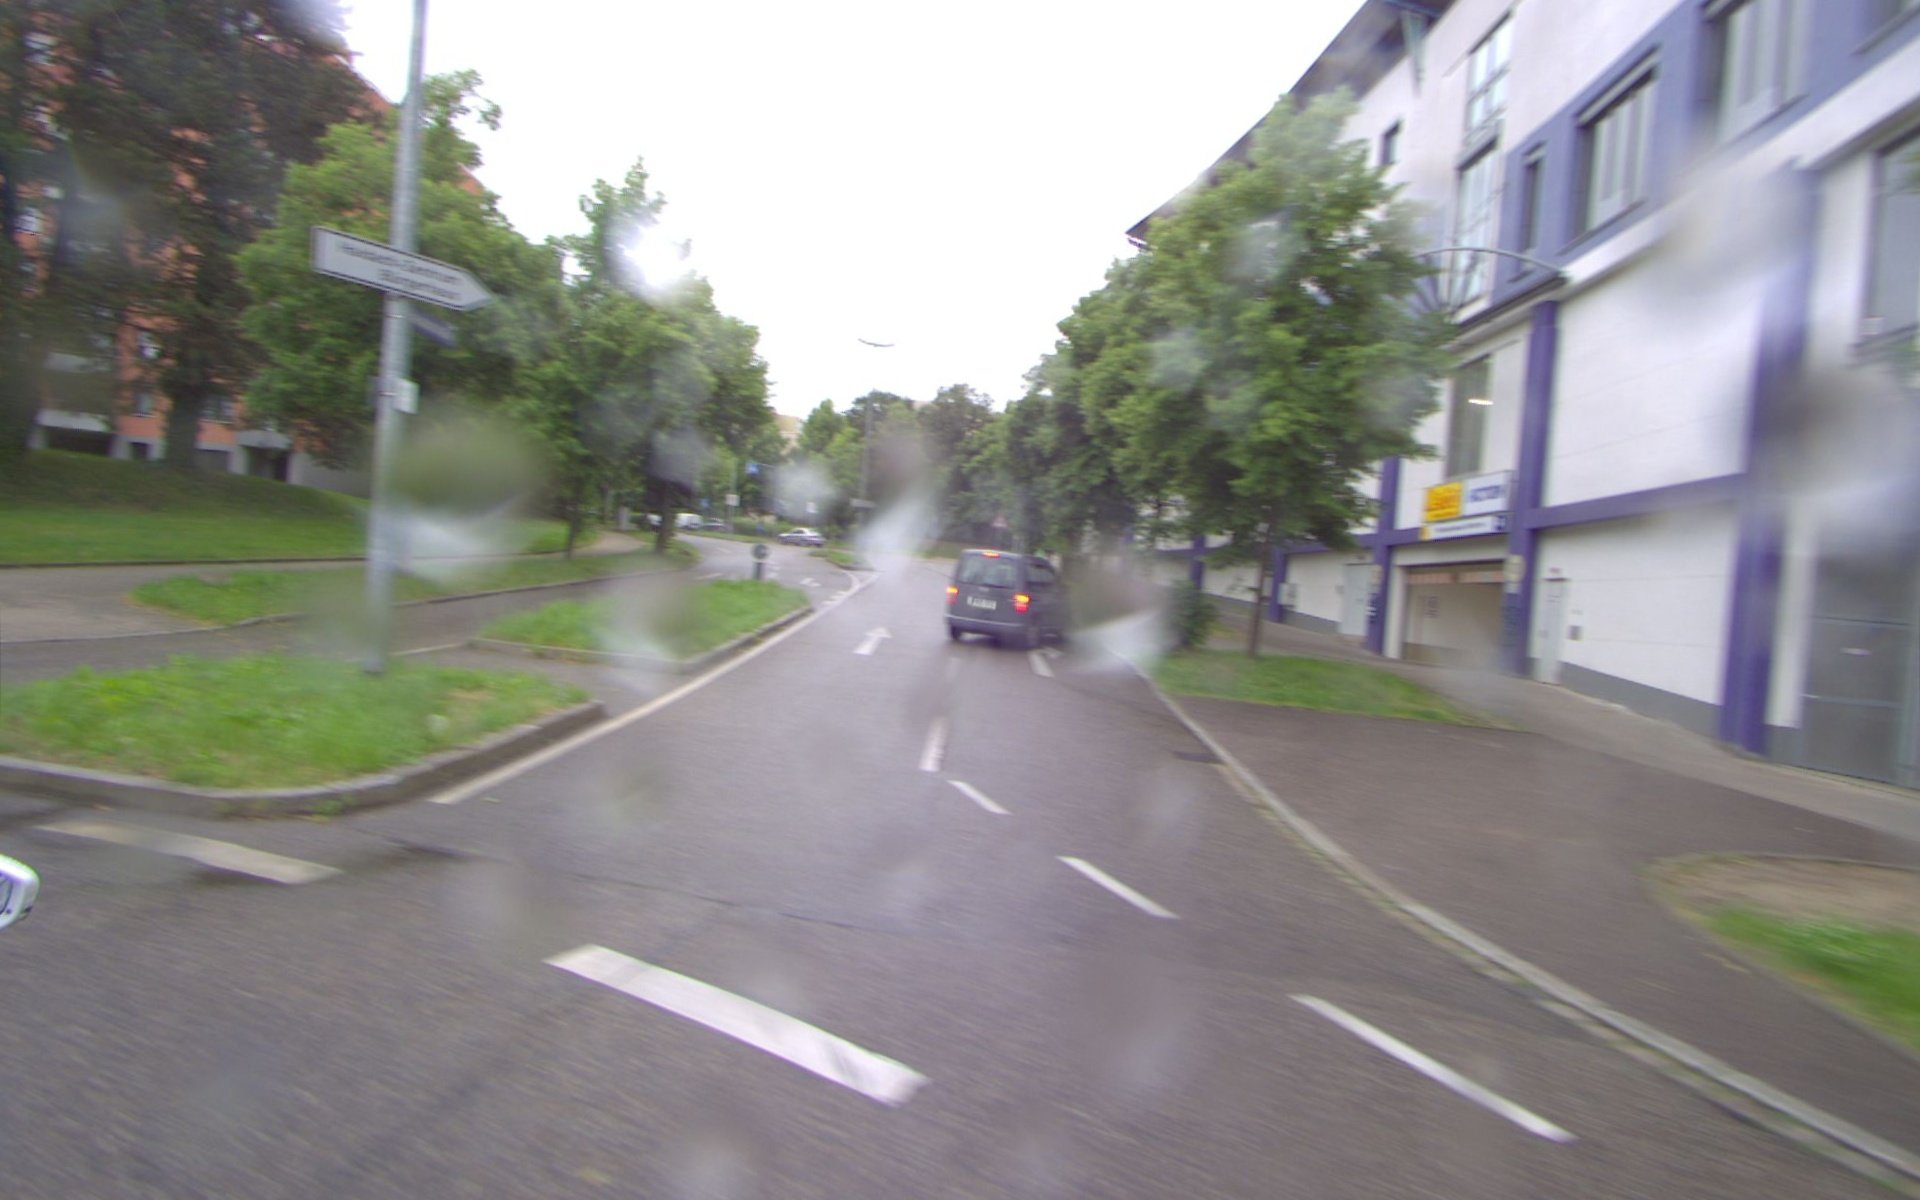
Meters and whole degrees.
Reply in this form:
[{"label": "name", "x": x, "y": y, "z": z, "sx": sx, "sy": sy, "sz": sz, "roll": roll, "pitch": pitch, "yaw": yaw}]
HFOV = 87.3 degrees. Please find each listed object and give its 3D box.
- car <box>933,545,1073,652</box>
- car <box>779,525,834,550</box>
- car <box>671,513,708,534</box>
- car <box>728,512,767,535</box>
[{"label": "car", "x": 0.987, "y": -0.110, "z": 20.675, "sx": 1.888, "sy": 1.827, "sz": 3.783, "roll": 6, "pitch": 4, "yaw": 16}, {"label": "car", "x": -12.203, "y": -4.946, "z": 79.816, "sx": 3.933, "sy": 1.586, "sz": 1.881, "roll": 6, "pitch": 2, "yaw": 31}, {"label": "car", "x": -27.102, "y": -7.668, "z": 100.600, "sx": 1.983, "sy": 1.898, "sz": 3.955, "roll": 4, "pitch": 2, "yaw": -40}, {"label": "car", "x": -20.066, "y": -7.199, "z": 94.964, "sx": 1.837, "sy": 1.898, "sz": 3.816, "roll": 3, "pitch": 2, "yaw": -41}]
